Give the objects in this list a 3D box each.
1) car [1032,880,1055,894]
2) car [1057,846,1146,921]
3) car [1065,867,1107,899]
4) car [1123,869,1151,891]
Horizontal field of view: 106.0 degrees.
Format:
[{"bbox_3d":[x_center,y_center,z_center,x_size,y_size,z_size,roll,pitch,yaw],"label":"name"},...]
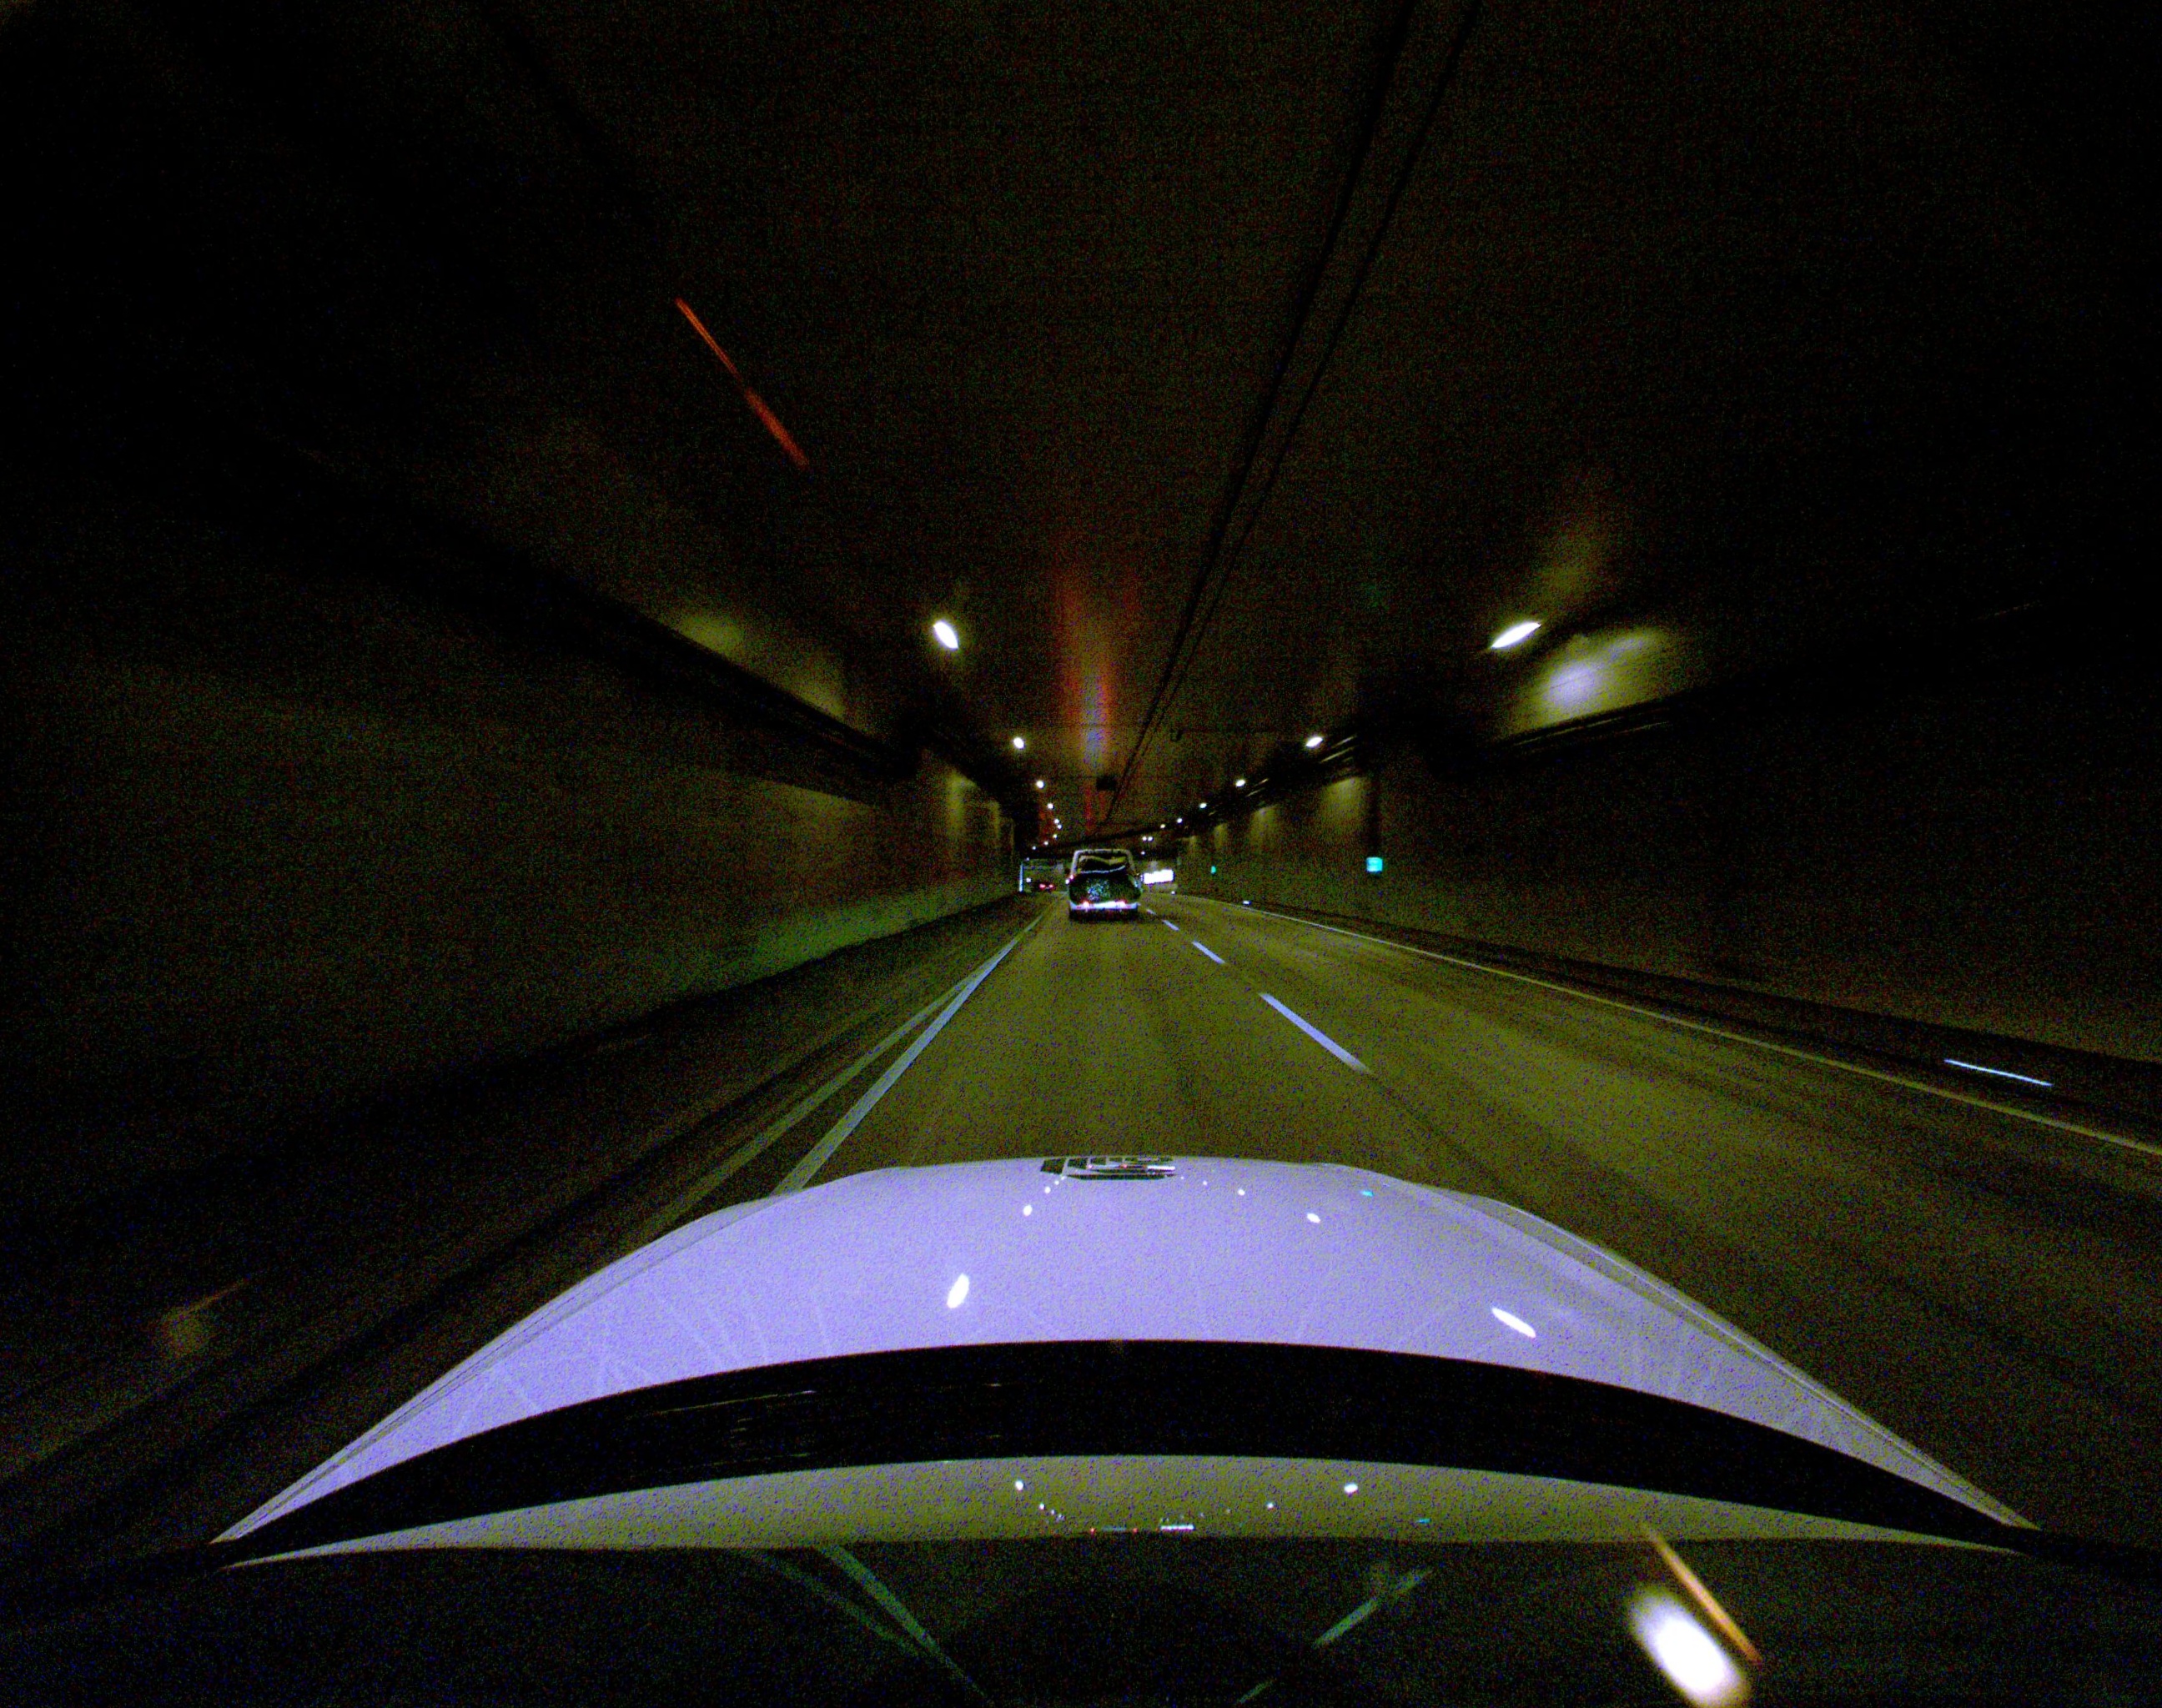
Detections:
[{"bbox_3d":[-4.820,4.140,103.113,1.828,1.630,3.818,3,-2,-19],"label":"car"},{"bbox_3d":[0.426,0.759,22.926,1.990,1.847,5.292,-1,-1,-4],"label":"car"},{"bbox_3d":[0.187,1.311,36.985,1.600,1.395,3.271,0,-2,-5],"label":"car"},{"bbox_3d":[4.228,1.973,61.758,1.600,1.630,3.349,-1,-2,-5],"label":"car"}]
